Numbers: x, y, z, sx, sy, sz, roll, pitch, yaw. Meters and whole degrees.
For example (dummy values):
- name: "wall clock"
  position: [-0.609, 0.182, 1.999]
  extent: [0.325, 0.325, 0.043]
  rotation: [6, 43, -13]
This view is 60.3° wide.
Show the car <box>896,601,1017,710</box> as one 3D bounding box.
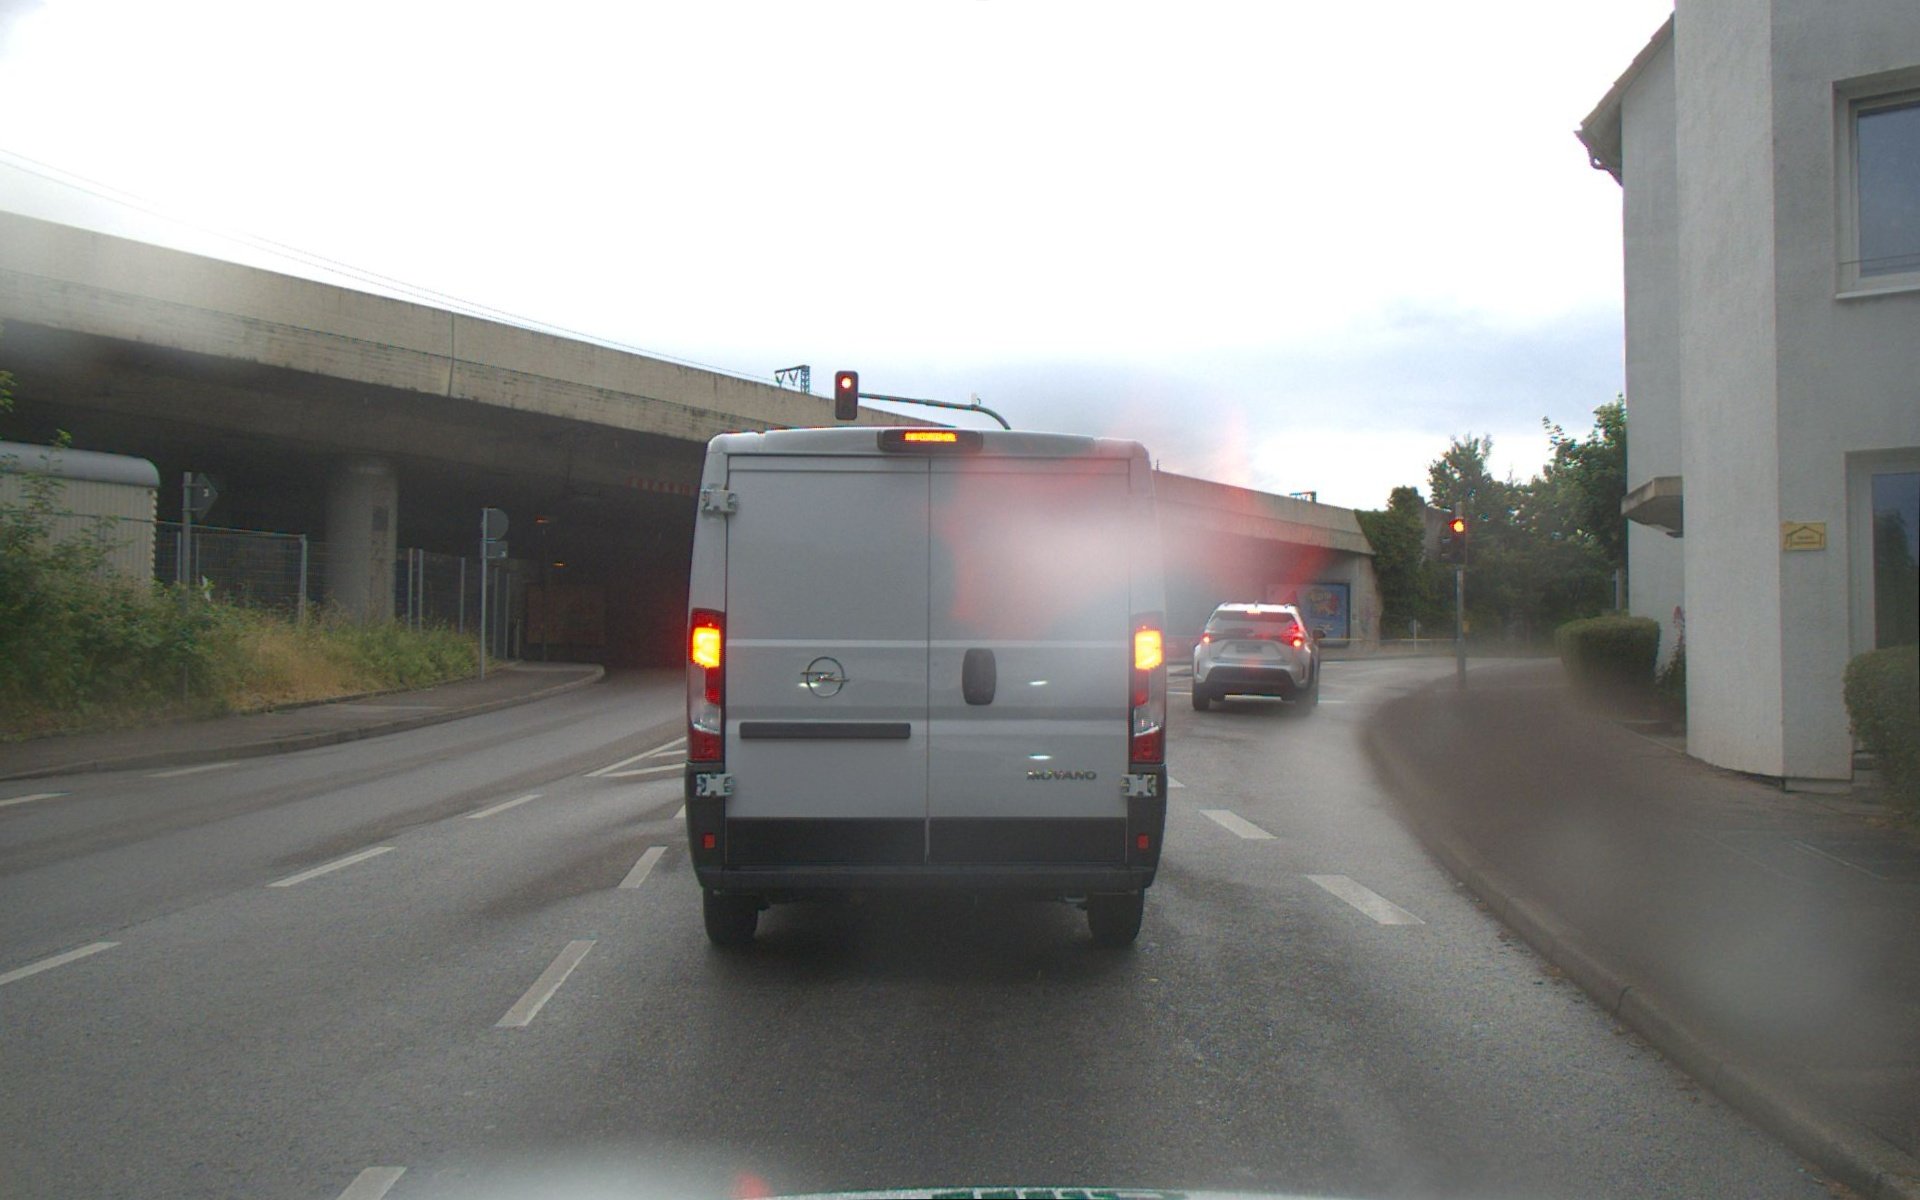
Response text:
- name: "car"
  position: [0.016, 0.955, 28.890]
  extent: [1.952, 1.759, 4.000]
  rotation: [0, -2, 2]

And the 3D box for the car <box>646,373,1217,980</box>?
- name: "car"
  position: [-0.209, 0.304, 9.195]
  extent: [2.259, 2.384, 5.279]
  rotation: [0, 0, -2]

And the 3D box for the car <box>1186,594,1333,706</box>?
- name: "car"
  position: [4.658, 0.730, 25.295]
  extent: [1.951, 1.576, 4.003]
  rotation: [0, -1, 14]
